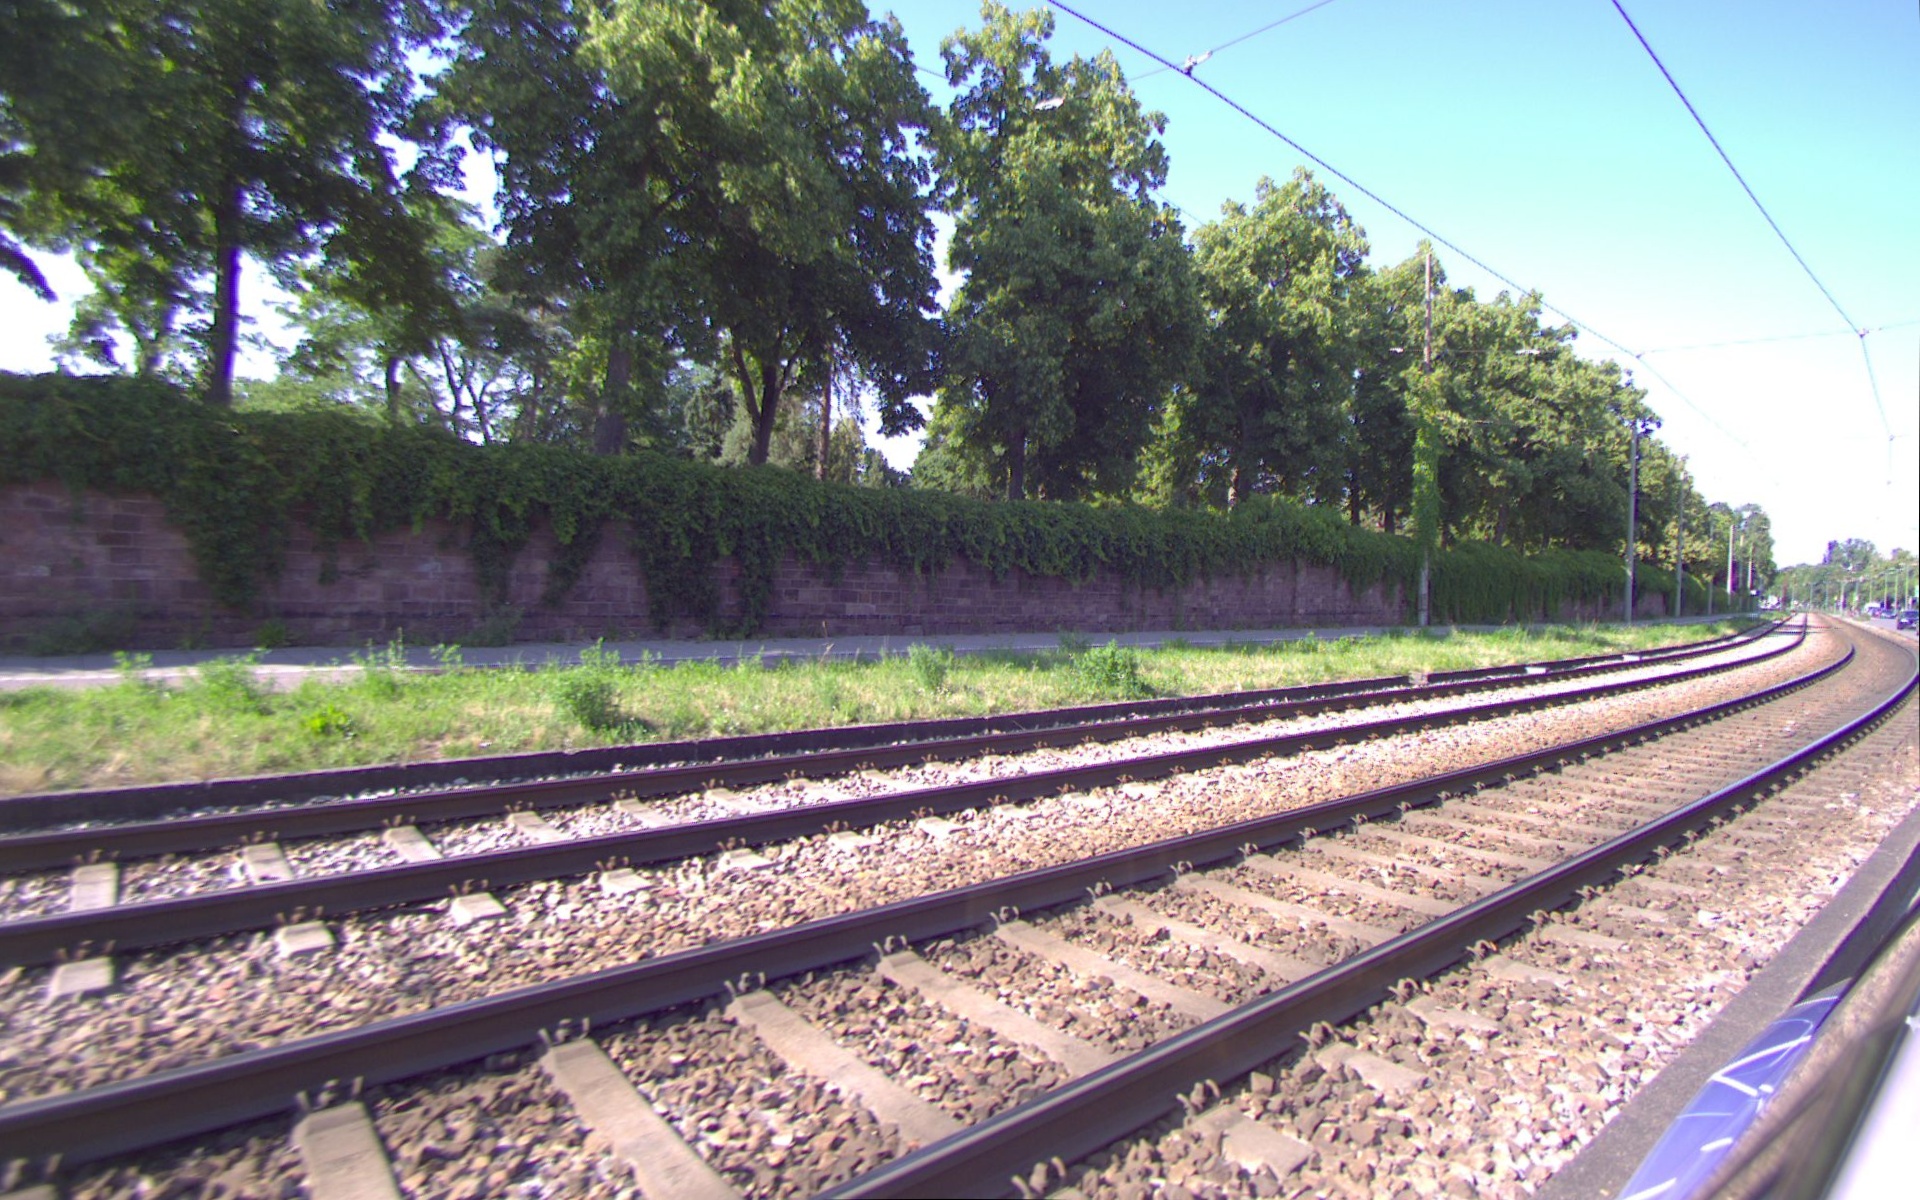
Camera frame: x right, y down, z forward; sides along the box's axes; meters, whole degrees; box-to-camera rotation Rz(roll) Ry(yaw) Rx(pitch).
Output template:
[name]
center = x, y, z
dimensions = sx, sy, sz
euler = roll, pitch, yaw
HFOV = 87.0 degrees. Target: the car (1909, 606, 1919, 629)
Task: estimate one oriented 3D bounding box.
[car]
center = 68.486, 1.246, 71.465
dimensions = 1.702, 1.610, 3.946
euler = 1, 0, 37
